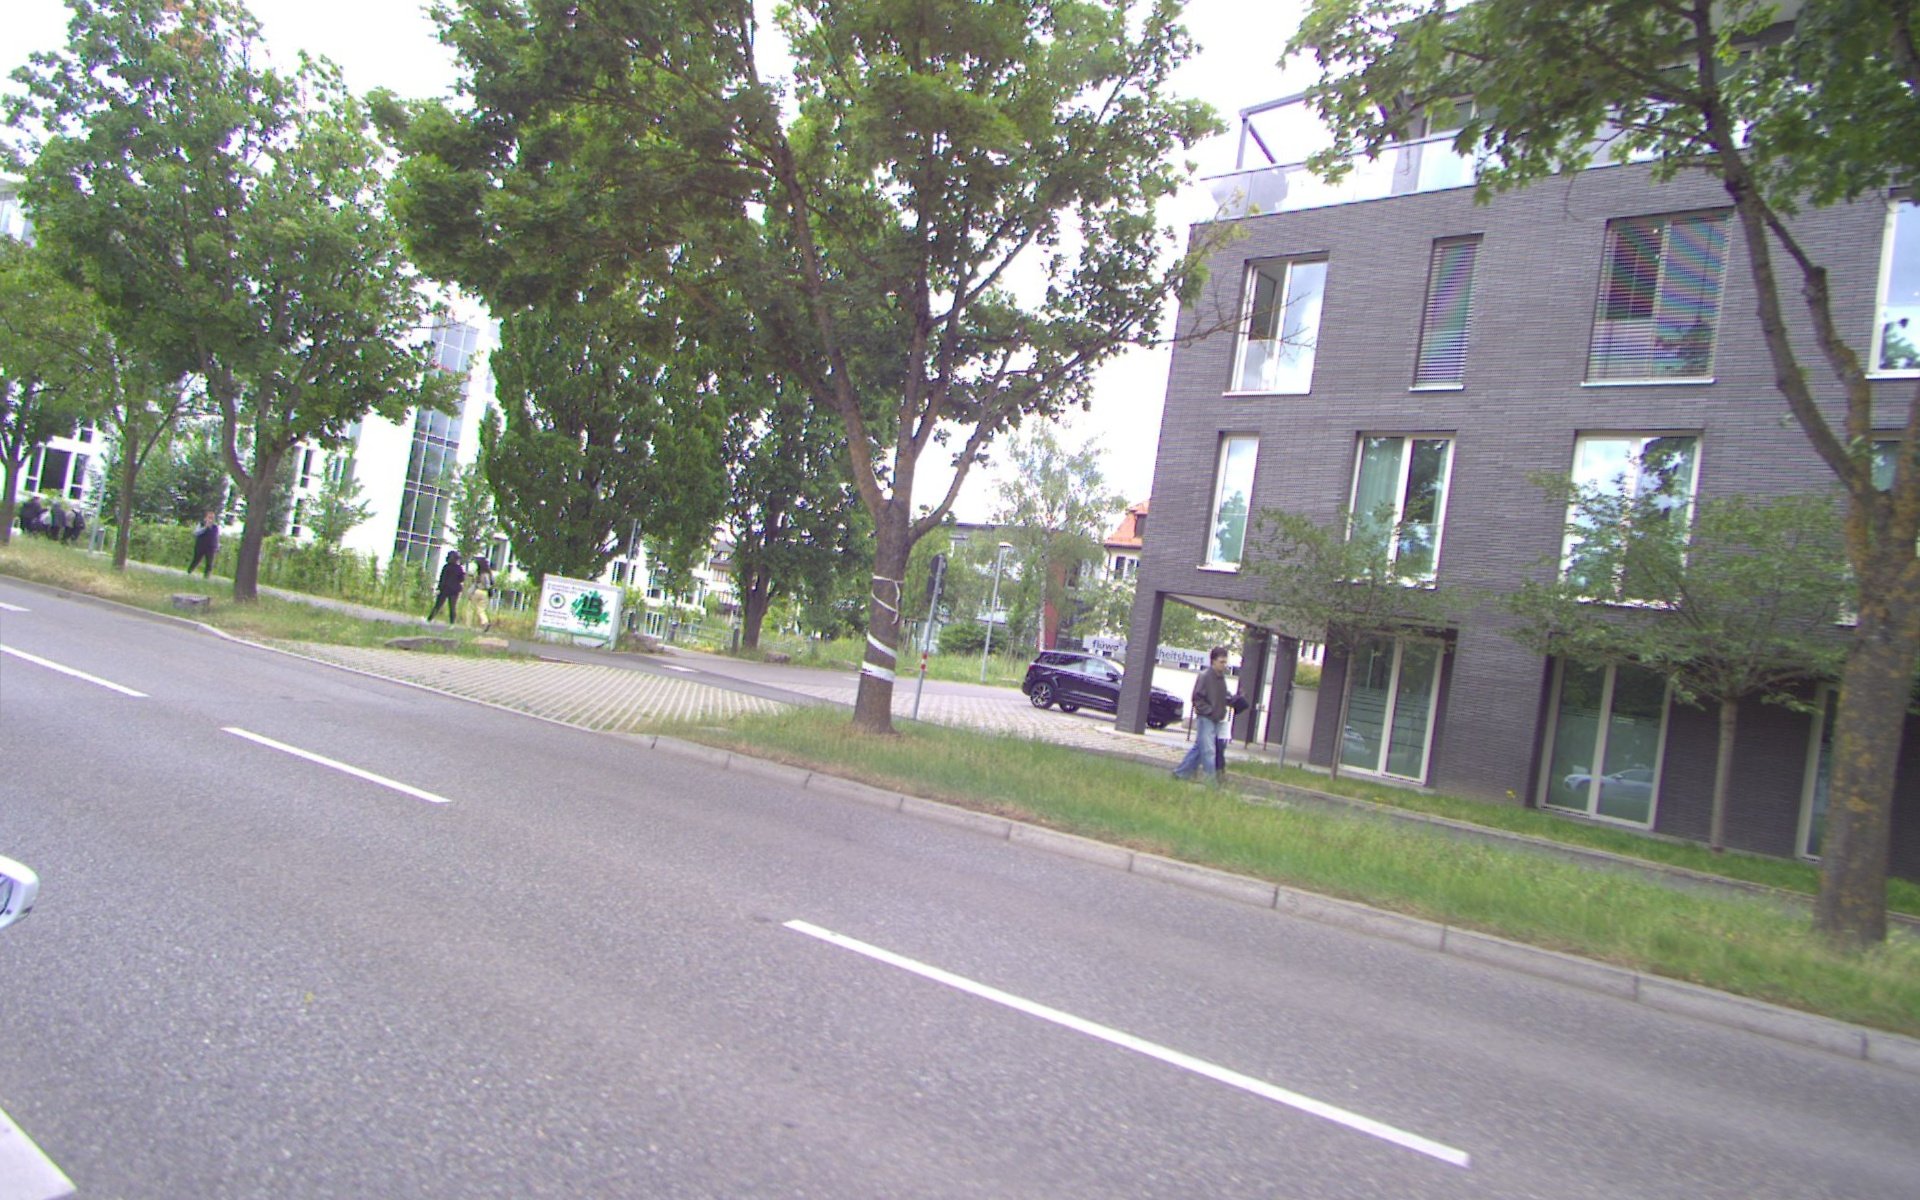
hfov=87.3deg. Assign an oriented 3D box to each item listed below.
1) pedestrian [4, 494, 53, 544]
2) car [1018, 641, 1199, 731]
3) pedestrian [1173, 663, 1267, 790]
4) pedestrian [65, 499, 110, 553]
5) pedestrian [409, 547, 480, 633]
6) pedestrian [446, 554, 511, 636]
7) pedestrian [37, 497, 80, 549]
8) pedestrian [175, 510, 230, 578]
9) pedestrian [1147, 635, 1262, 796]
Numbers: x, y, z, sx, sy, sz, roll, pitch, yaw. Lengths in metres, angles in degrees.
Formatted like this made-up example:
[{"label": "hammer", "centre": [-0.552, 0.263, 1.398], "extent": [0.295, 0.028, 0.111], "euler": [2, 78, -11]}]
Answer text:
[{"label": "pedestrian", "centre": [-30.691, -2.666, 33.147], "extent": [1.094, 1.464, 0.791], "euler": [6, -2, 31]}, {"label": "car", "centre": [3.793, 2.193, 25.840], "extent": [4.081, 1.664, 1.760], "euler": [6, -3, 33]}, {"label": "pedestrian", "centre": [3.588, 1.730, 13.861], "extent": [0.861, 1.574, 0.834], "euler": [6, -2, 34]}, {"label": "pedestrian", "centre": [-29.821, -2.534, 34.393], "extent": [0.869, 1.704, 0.769], "euler": [6, -2, 31]}, {"label": "pedestrian", "centre": [-11.159, -0.217, 21.778], "extent": [1.044, 1.679, 0.796], "euler": [6, -2, 38]}, {"label": "pedestrian", "centre": [-10.742, -0.106, 22.460], "extent": [0.938, 1.679, 0.779], "euler": [6, -2, 38]}, {"label": "pedestrian", "centre": [-30.262, -2.578, 33.768], "extent": [0.869, 1.614, 0.701], "euler": [6, -2, 31]}, {"label": "pedestrian", "centre": [-19.222, -1.413, 25.533], "extent": [0.663, 1.592, 0.743], "euler": [6, -2, 31]}, {"label": "pedestrian", "centre": [3.172, 1.482, 12.993], "extent": [0.963, 1.889, 0.961], "euler": [6, -2, 34]}]
